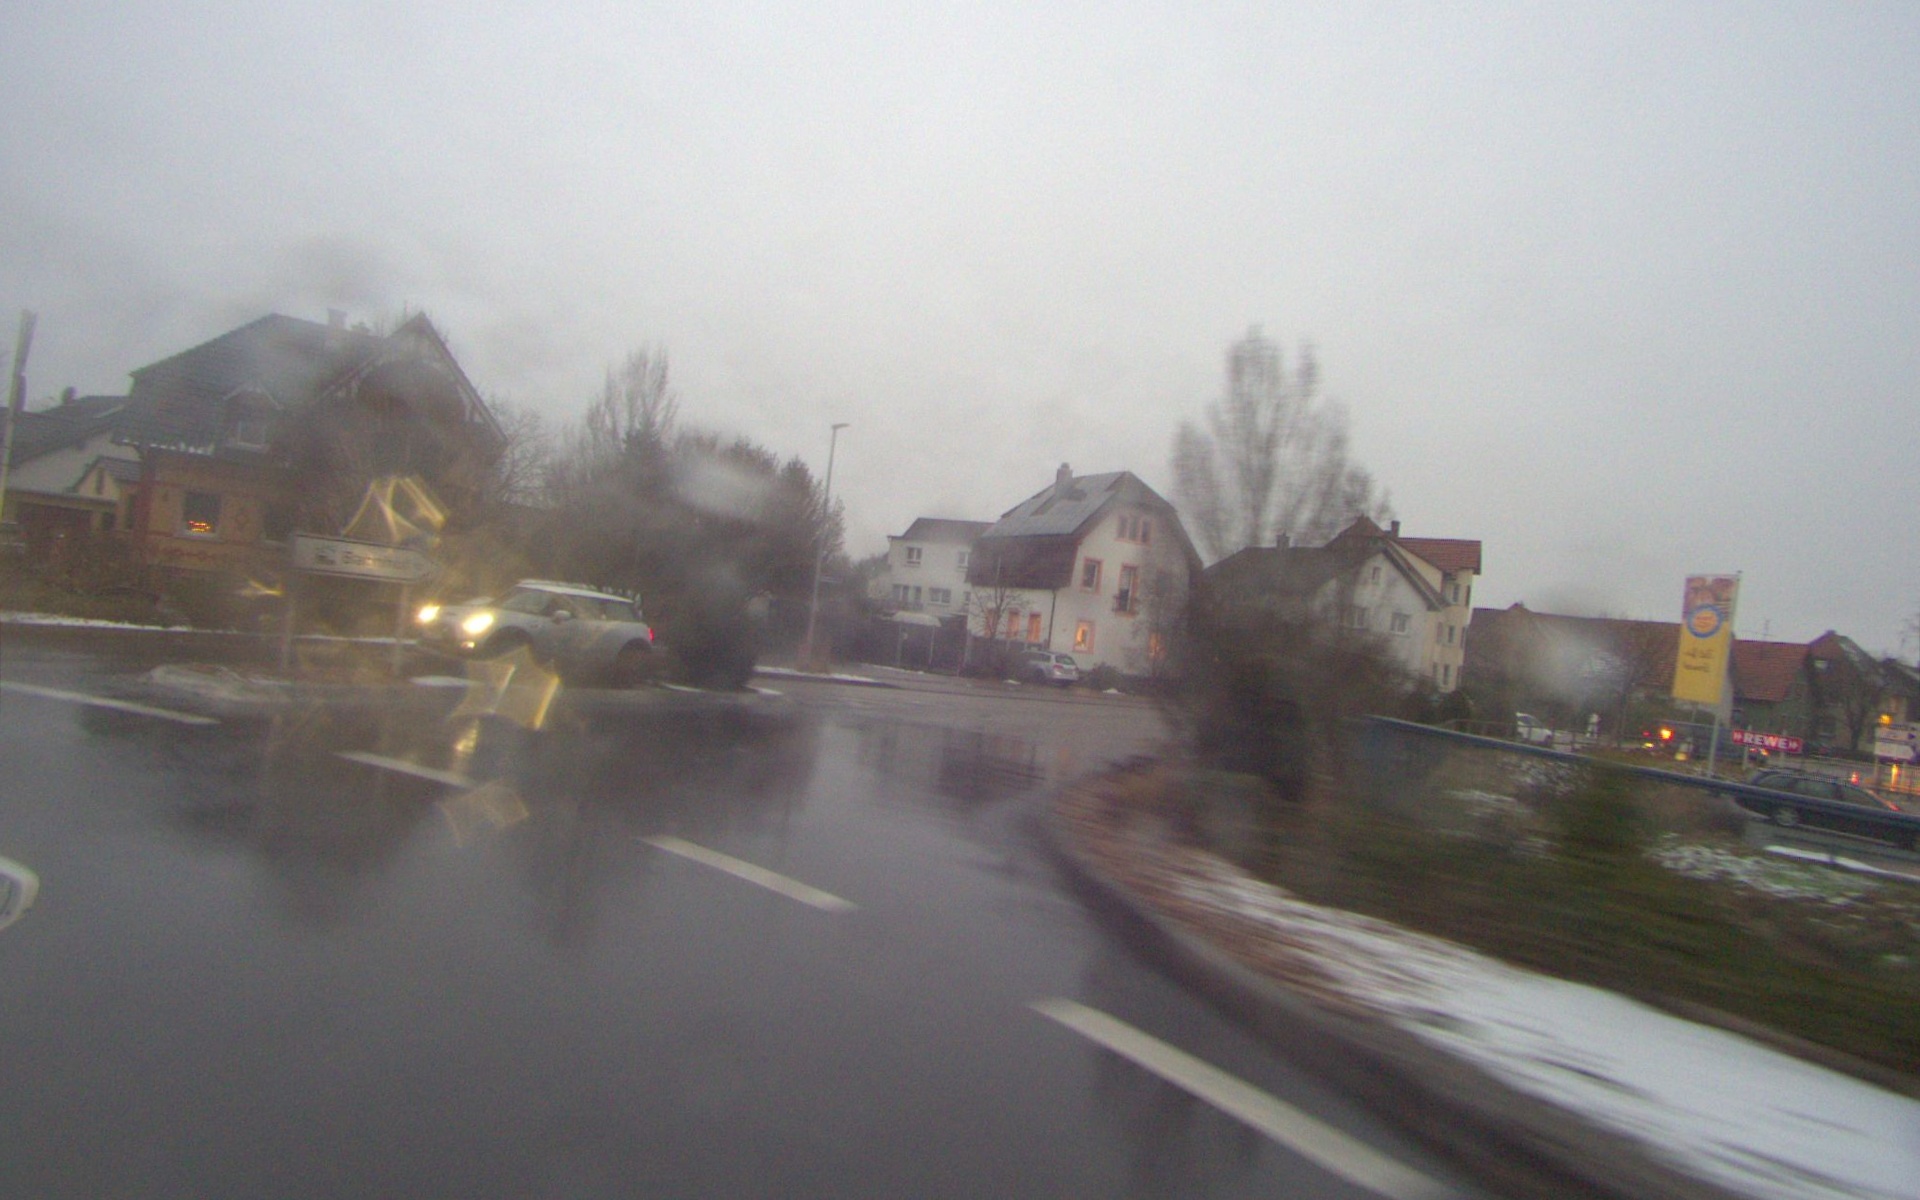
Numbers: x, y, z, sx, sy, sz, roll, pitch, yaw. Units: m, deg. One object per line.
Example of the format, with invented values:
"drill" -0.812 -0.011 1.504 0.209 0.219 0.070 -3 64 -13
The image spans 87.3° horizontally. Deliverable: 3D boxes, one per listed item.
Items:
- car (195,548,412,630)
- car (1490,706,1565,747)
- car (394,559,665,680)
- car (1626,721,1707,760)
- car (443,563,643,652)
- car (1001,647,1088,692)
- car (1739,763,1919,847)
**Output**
"car" -19.856 -0.323 30.775 5.273 1.889 2.349 6 0 -31
"car" 25.579 5.707 45.300 3.828 1.509 1.741 9 -4 -42
"car" -6.816 0.384 16.320 1.635 1.509 3.709 5 -3 29
"car" 35.586 7.075 50.686 3.672 1.509 1.905 8 -3 -30
"car" -12.413 0.276 30.074 5.191 1.940 1.925 8 -3 -30
"car" 3.746 3.097 45.190 1.893 1.505 3.970 6 0 -29
"car" 22.911 5.323 26.229 3.888 1.419 1.608 5 -2 33
